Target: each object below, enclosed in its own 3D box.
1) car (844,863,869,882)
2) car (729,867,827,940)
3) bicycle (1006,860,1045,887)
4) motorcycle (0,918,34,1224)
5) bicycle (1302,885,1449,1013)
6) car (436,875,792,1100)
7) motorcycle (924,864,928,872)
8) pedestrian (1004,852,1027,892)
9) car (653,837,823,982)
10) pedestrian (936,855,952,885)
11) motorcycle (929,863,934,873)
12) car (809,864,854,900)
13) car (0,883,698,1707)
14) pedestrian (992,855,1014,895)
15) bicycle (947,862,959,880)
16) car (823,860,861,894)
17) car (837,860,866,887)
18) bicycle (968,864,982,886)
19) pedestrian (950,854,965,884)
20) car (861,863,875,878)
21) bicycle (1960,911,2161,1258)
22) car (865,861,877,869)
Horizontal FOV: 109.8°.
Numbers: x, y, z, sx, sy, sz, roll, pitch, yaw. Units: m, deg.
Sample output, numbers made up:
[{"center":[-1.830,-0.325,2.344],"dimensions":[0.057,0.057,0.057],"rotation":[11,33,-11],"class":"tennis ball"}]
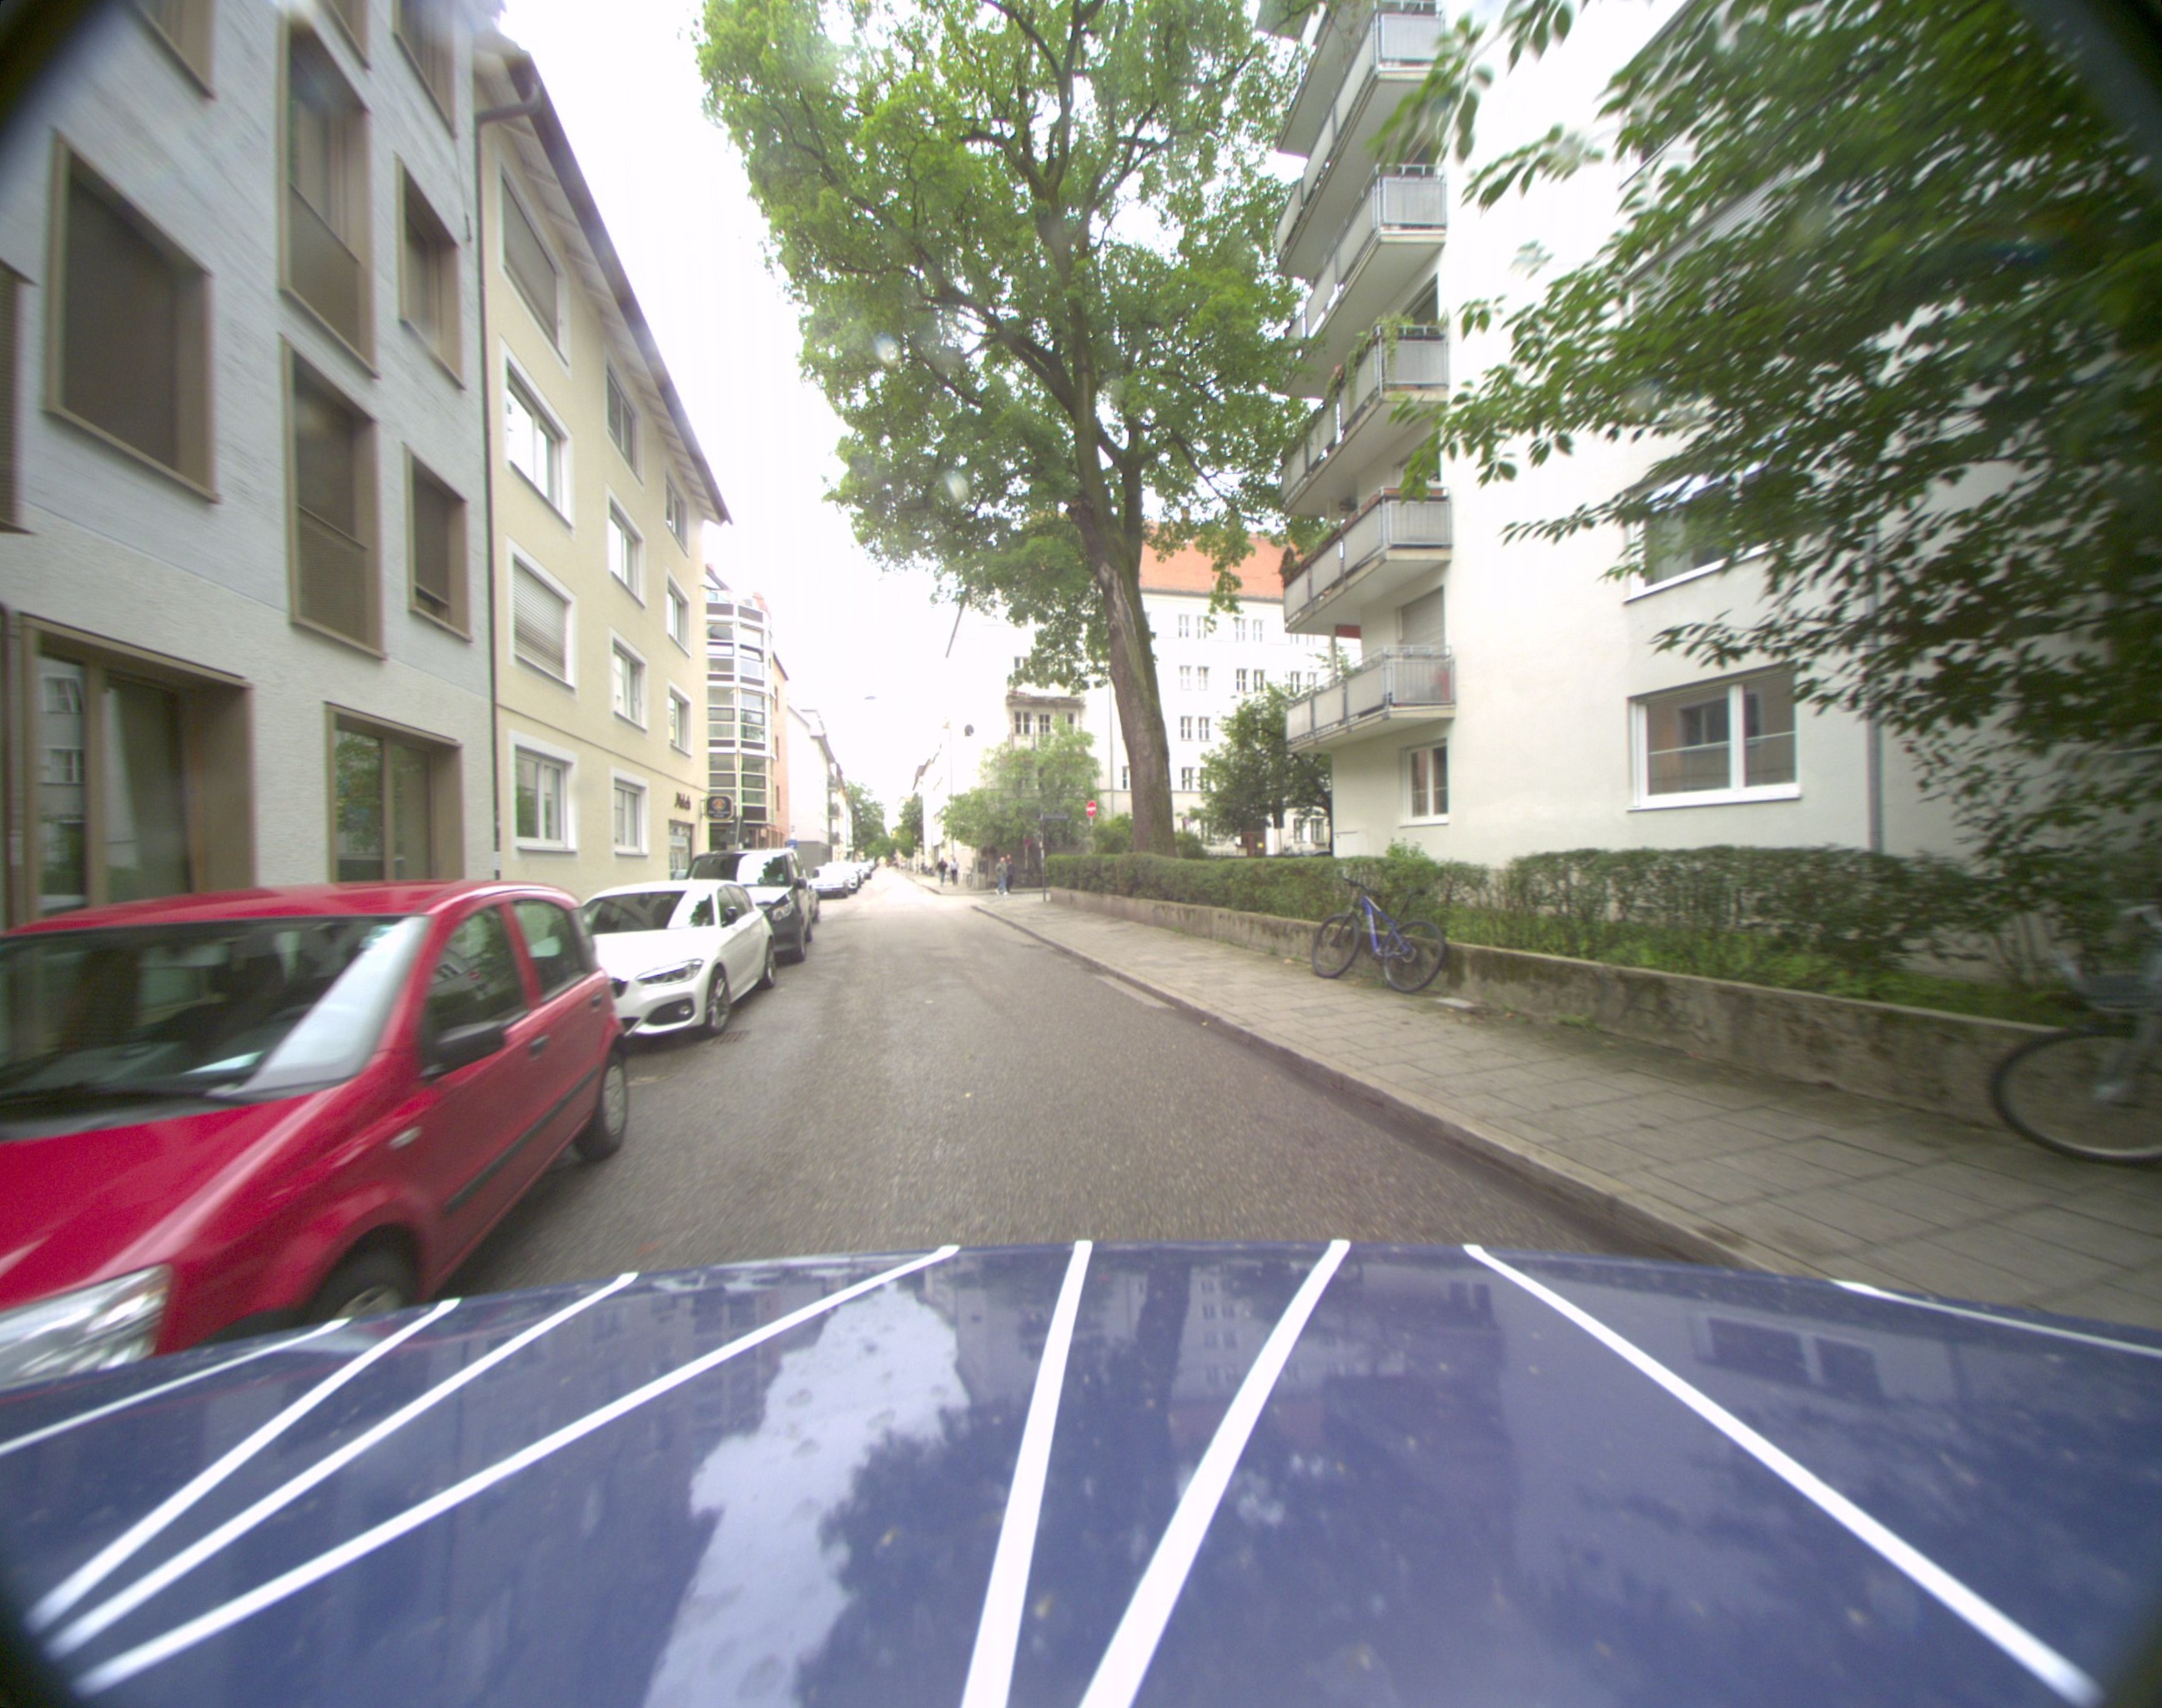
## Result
[{"center":[-17.244,1.407,58.538],"dimensions":[1.621,1.368,3.812],"rotation":[-2,0,-14],"class":"car"},{"center":[-7.163,1.099,18.266],"dimensions":[1.640,1.463,3.533],"rotation":[-3,0,-14],"class":"car"},{"center":[-2.722,0.946,37.286],"dimensions":[1.813,1.253,0.431],"rotation":[-1,0,-16],"class":"bicycle"},{"center":[-5.192,0.995,2.598],"dimensions":[0.808,1.415,1.930],"rotation":[2,-1,-14],"class":"motorcycle"},{"center":[2.907,0.884,7.696],"dimensions":[0.348,1.066,1.778],"rotation":[-5,1,-14],"class":"bicycle"},{"center":[-4.307,1.047,7.900],"dimensions":[1.774,1.453,4.375],"rotation":[-3,0,-13],"class":"car"},{"center":[-17.557,1.575,86.272],"dimensions":[0.324,0.968,1.958],"rotation":[-2,0,-14],"class":"motorcycle"},{"center":[-2.972,0.823,34.448],"dimensions":[0.692,1.753,0.740],"rotation":[-4,1,-25],"class":"pedestrian"},{"center":[-5.726,0.803,13.330],"dimensions":[1.998,1.965,4.878],"rotation":[-3,0,-17],"class":"car"},{"center":[-8.183,0.931,45.411],"dimensions":[0.722,1.718,0.840],"rotation":[-5,1,-14],"class":"pedestrian"},{"center":[-15.178,1.444,76.987],"dimensions":[0.324,0.968,1.958],"rotation":[-2,0,-14],"class":"motorcycle"},{"center":[-11.140,1.208,34.173],"dimensions":[1.727,1.426,4.353],"rotation":[-2,0,-16],"class":"car"},{"center":[-3.002,0.982,2.833],"dimensions":[1.778,1.515,4.062],"rotation":[-3,0,-13],"class":"car"},{"center":[-3.457,0.922,33.630],"dimensions":[0.692,1.668,0.858],"rotation":[-4,1,-16],"class":"pedestrian"},{"center":[-9.182,1.208,54.366],"dimensions":[0.450,1.187,1.497],"rotation":[-3,1,-24],"class":"bicycle"},{"center":[-12.390,1.129,39.595],"dimensions":[1.727,1.606,4.448],"rotation":[-2,0,-16],"class":"car"},{"center":[-14.767,1.237,48.994],"dimensions":[1.621,1.570,4.046],"rotation":[-2,0,-16],"class":"car"},{"center":[-5.649,1.108,40.569],"dimensions":[0.432,1.088,1.701],"rotation":[-3,1,-16],"class":"bicycle"},{"center":[-7.421,0.876,45.647],"dimensions":[0.695,1.718,0.840],"rotation":[-5,1,-14],"class":"pedestrian"},{"center":[-20.303,1.545,72.566],"dimensions":[1.191,1.312,2.776],"rotation":[-2,0,-14],"class":"car"},{"center":[4.080,0.837,2.370],"dimensions":[0.490,1.145,1.696],"rotation":[-4,2,-13],"class":"bicycle"},{"center":[-37.234,2.004,134.837],"dimensions":[2.001,1.259,3.995],"rotation":[-2,0,-14],"class":"car"}]
